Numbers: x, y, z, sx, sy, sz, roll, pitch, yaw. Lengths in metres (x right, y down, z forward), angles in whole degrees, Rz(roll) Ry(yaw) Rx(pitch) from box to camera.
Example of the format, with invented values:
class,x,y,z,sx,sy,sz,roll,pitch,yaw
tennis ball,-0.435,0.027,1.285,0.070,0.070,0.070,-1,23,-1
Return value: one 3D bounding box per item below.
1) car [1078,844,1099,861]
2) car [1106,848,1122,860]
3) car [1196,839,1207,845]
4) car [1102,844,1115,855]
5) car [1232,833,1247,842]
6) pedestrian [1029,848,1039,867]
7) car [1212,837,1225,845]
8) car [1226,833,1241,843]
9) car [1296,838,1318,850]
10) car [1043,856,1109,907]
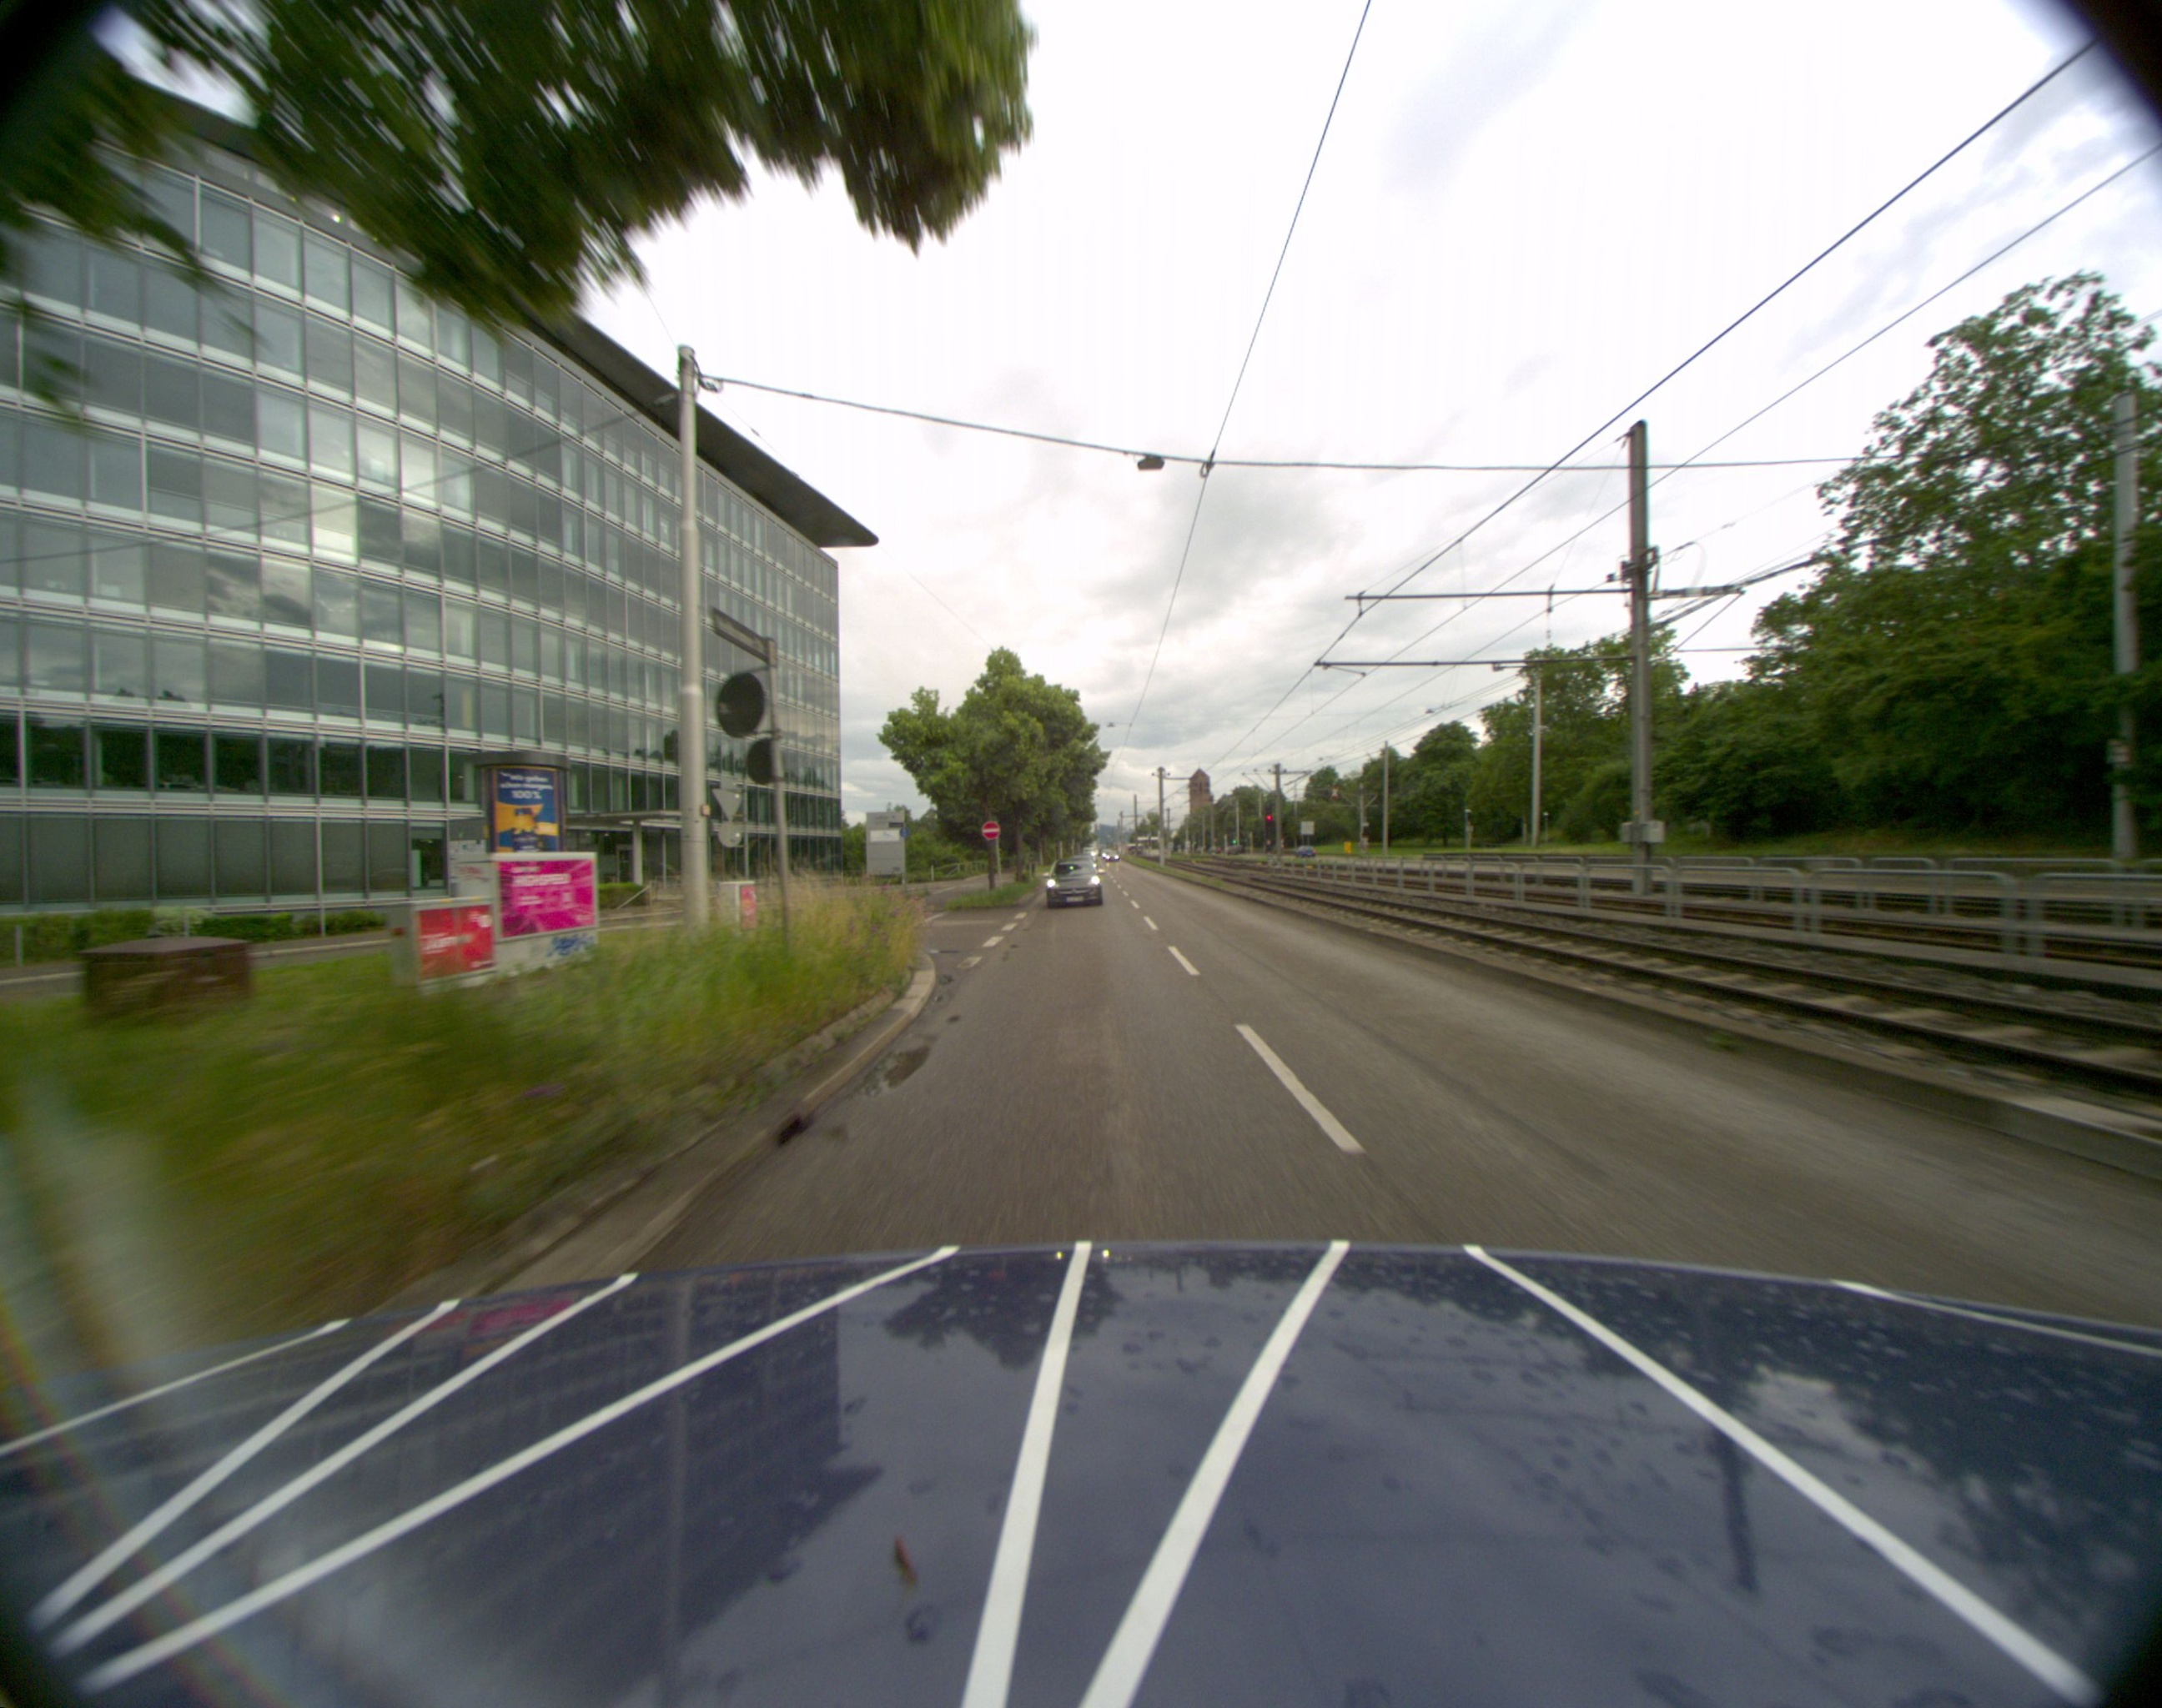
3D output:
class,x,y,z,sx,sy,sz,roll,pitch,yaw
car,0.738,-0.137,76.012,1.998,1.608,4.000,-2,1,1
car,4.332,0.010,100.029,1.899,1.432,4.246,-2,0,1
car,28.989,-2.967,182.724,1.931,1.438,4.682,-1,1,1
car,4.285,-0.703,119.289,1.812,1.566,3.971,-2,1,1
car,28.301,-2.875,135.670,1.952,1.586,4.848,-1,1,4
pedestrian,-4.530,0.348,73.280,0.828,1.787,0.867,-2,1,2
car,29.070,-2.742,160.476,2.094,1.580,5.159,-1,1,3
car,25.537,-2.644,127.130,1.895,1.478,4.309,-1,1,4
car,27.320,-1.178,91.902,1.765,1.389,3.901,-1,1,4
car,-0.109,0.812,24.609,1.899,1.432,4.474,-2,0,1
